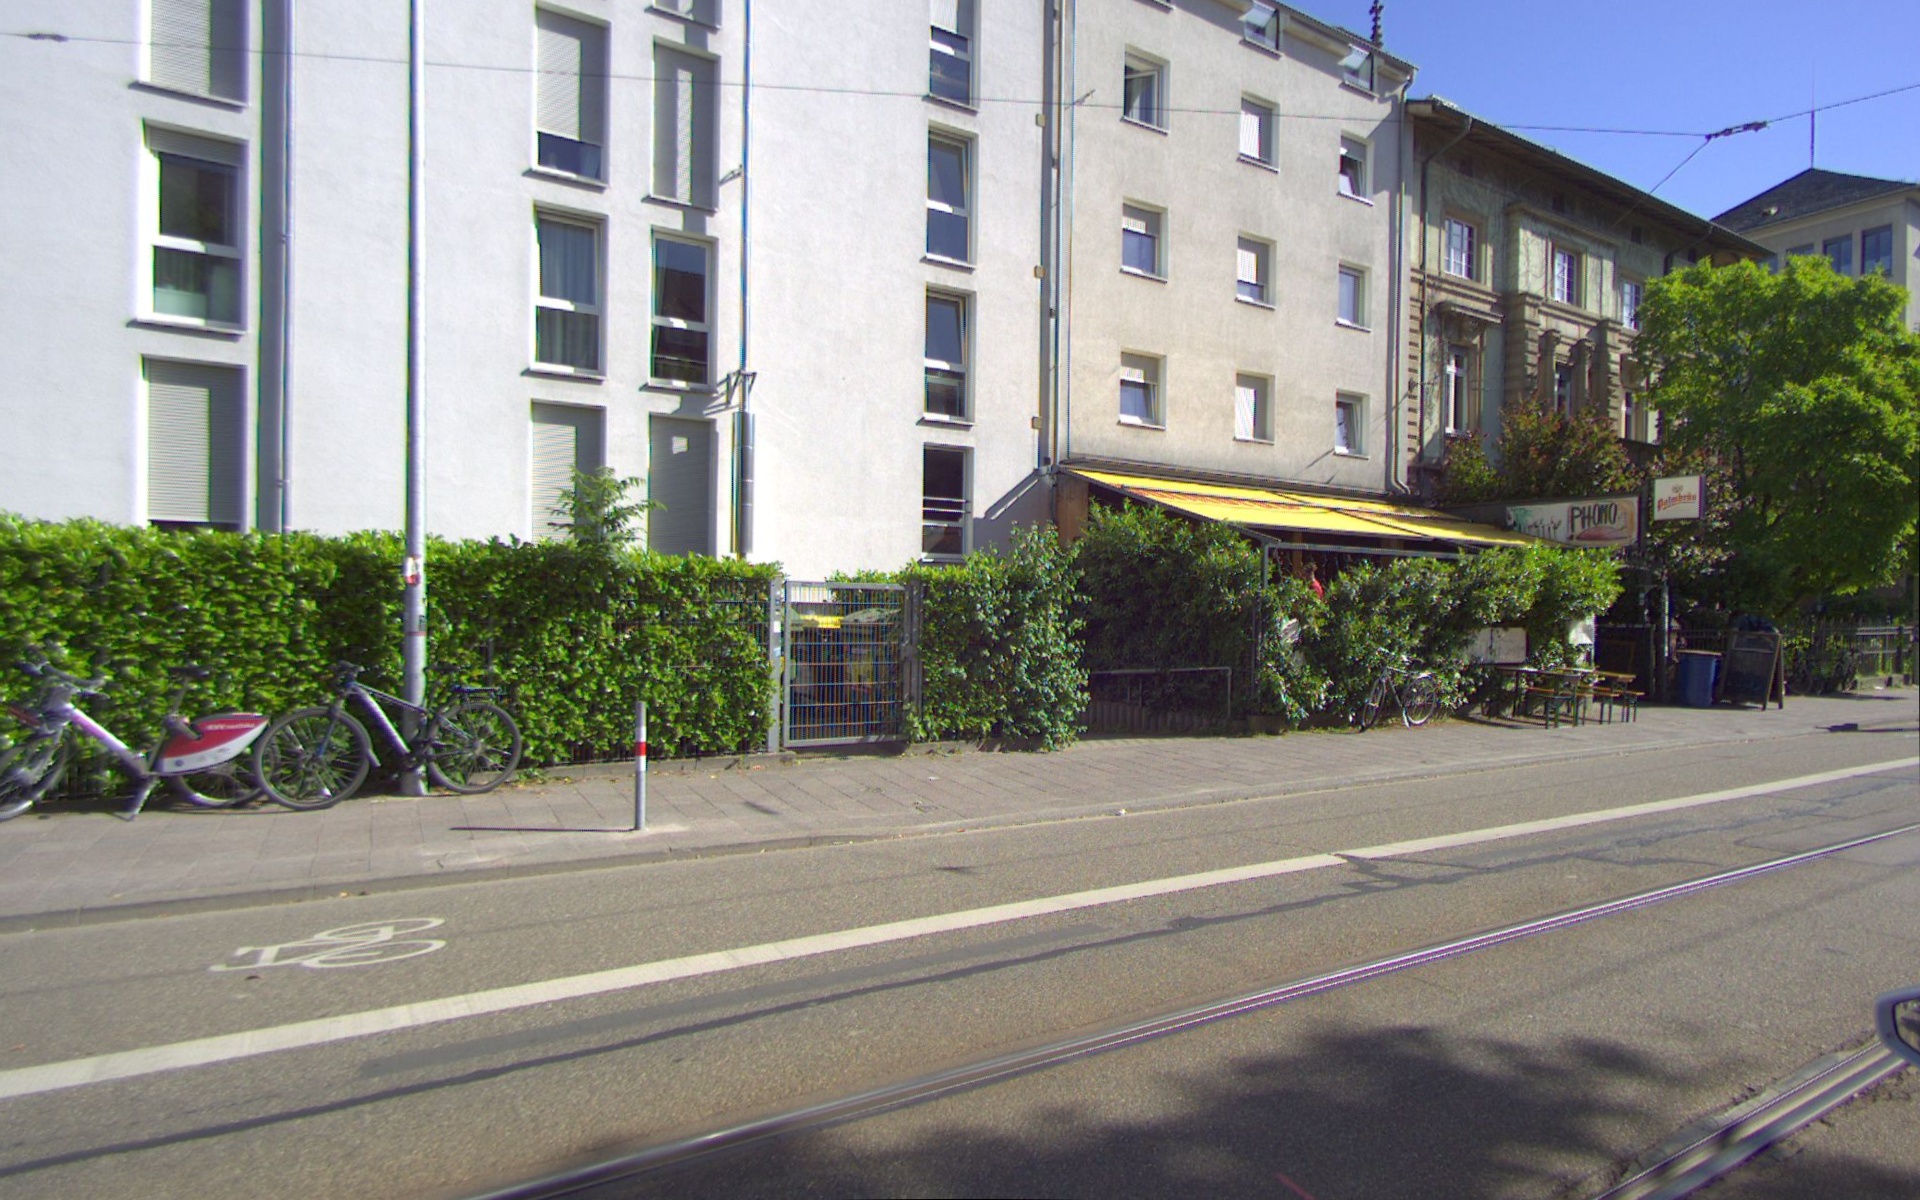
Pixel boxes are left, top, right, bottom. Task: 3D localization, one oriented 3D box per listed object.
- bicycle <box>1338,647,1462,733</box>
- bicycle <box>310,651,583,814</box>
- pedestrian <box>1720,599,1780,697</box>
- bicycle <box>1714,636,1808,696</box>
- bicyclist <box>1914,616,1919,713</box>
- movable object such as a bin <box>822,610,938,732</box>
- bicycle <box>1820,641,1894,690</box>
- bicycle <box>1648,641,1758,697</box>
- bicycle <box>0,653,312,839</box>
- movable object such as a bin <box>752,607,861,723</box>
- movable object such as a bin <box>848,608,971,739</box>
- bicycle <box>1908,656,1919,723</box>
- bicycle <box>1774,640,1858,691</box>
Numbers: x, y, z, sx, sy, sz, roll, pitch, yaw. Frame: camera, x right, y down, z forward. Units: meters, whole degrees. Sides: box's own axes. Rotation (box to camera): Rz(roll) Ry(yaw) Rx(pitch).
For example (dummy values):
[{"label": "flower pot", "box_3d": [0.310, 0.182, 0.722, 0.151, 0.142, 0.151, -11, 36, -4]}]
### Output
[{"label": "bicycle", "box_3d": [6.110, 1.221, 13.931, 1.722, 1.073, 0.635, 1, 2, -30]}, {"label": "bicycle", "box_3d": [-3.997, 0.990, 7.906, 1.819, 1.104, 0.658, 2, 2, -30]}, {"label": "pedestrian", "box_3d": [15.165, 0.910, 19.281, 0.677, 1.856, 0.576, 1, 0, -12]}, {"label": "bicycle", "box_3d": [16.435, 1.344, 20.615, 1.877, 1.159, 0.644, 1, 2, -23]}, {"label": "bicyclist", "box_3d": [16.593, 1.066, 16.681, 1.104, 1.620, 0.742, 1, -3, -30]}, {"label": "movable object such as a bin", "box_3d": [-1.024, 0.872, 12.859, 1.244, 1.476, 0.802, 1, -1, -32]}, {"label": "bicycle", "box_3d": [20.367, 1.469, 22.792, 1.880, 1.059, 0.587, 1, 2, -28]}, {"label": "bicycle", "box_3d": [14.831, 1.378, 20.062, 1.987, 1.059, 0.637, 1, 0, -14]}, {"label": "bicycle", "box_3d": [-5.591, 0.952, 6.926, 1.819, 1.104, 0.658, 2, 2, -30]}, {"label": "movable object such as a bin", "box_3d": [-2.063, 0.845, 13.508, 1.244, 1.476, 0.802, 1, -1, -32]}, {"label": "movable object such as a bin", "box_3d": [-0.607, 0.846, 12.058, 1.244, 1.476, 0.802, 1, -1, -32]}, {"label": "bicycle", "box_3d": [16.635, 1.476, 16.685, 1.876, 1.096, 0.742, 1, -3, -30]}, {"label": "bicycle", "box_3d": [18.617, 1.411, 21.843, 1.877, 1.059, 0.588, 1, 1, -23]}]
